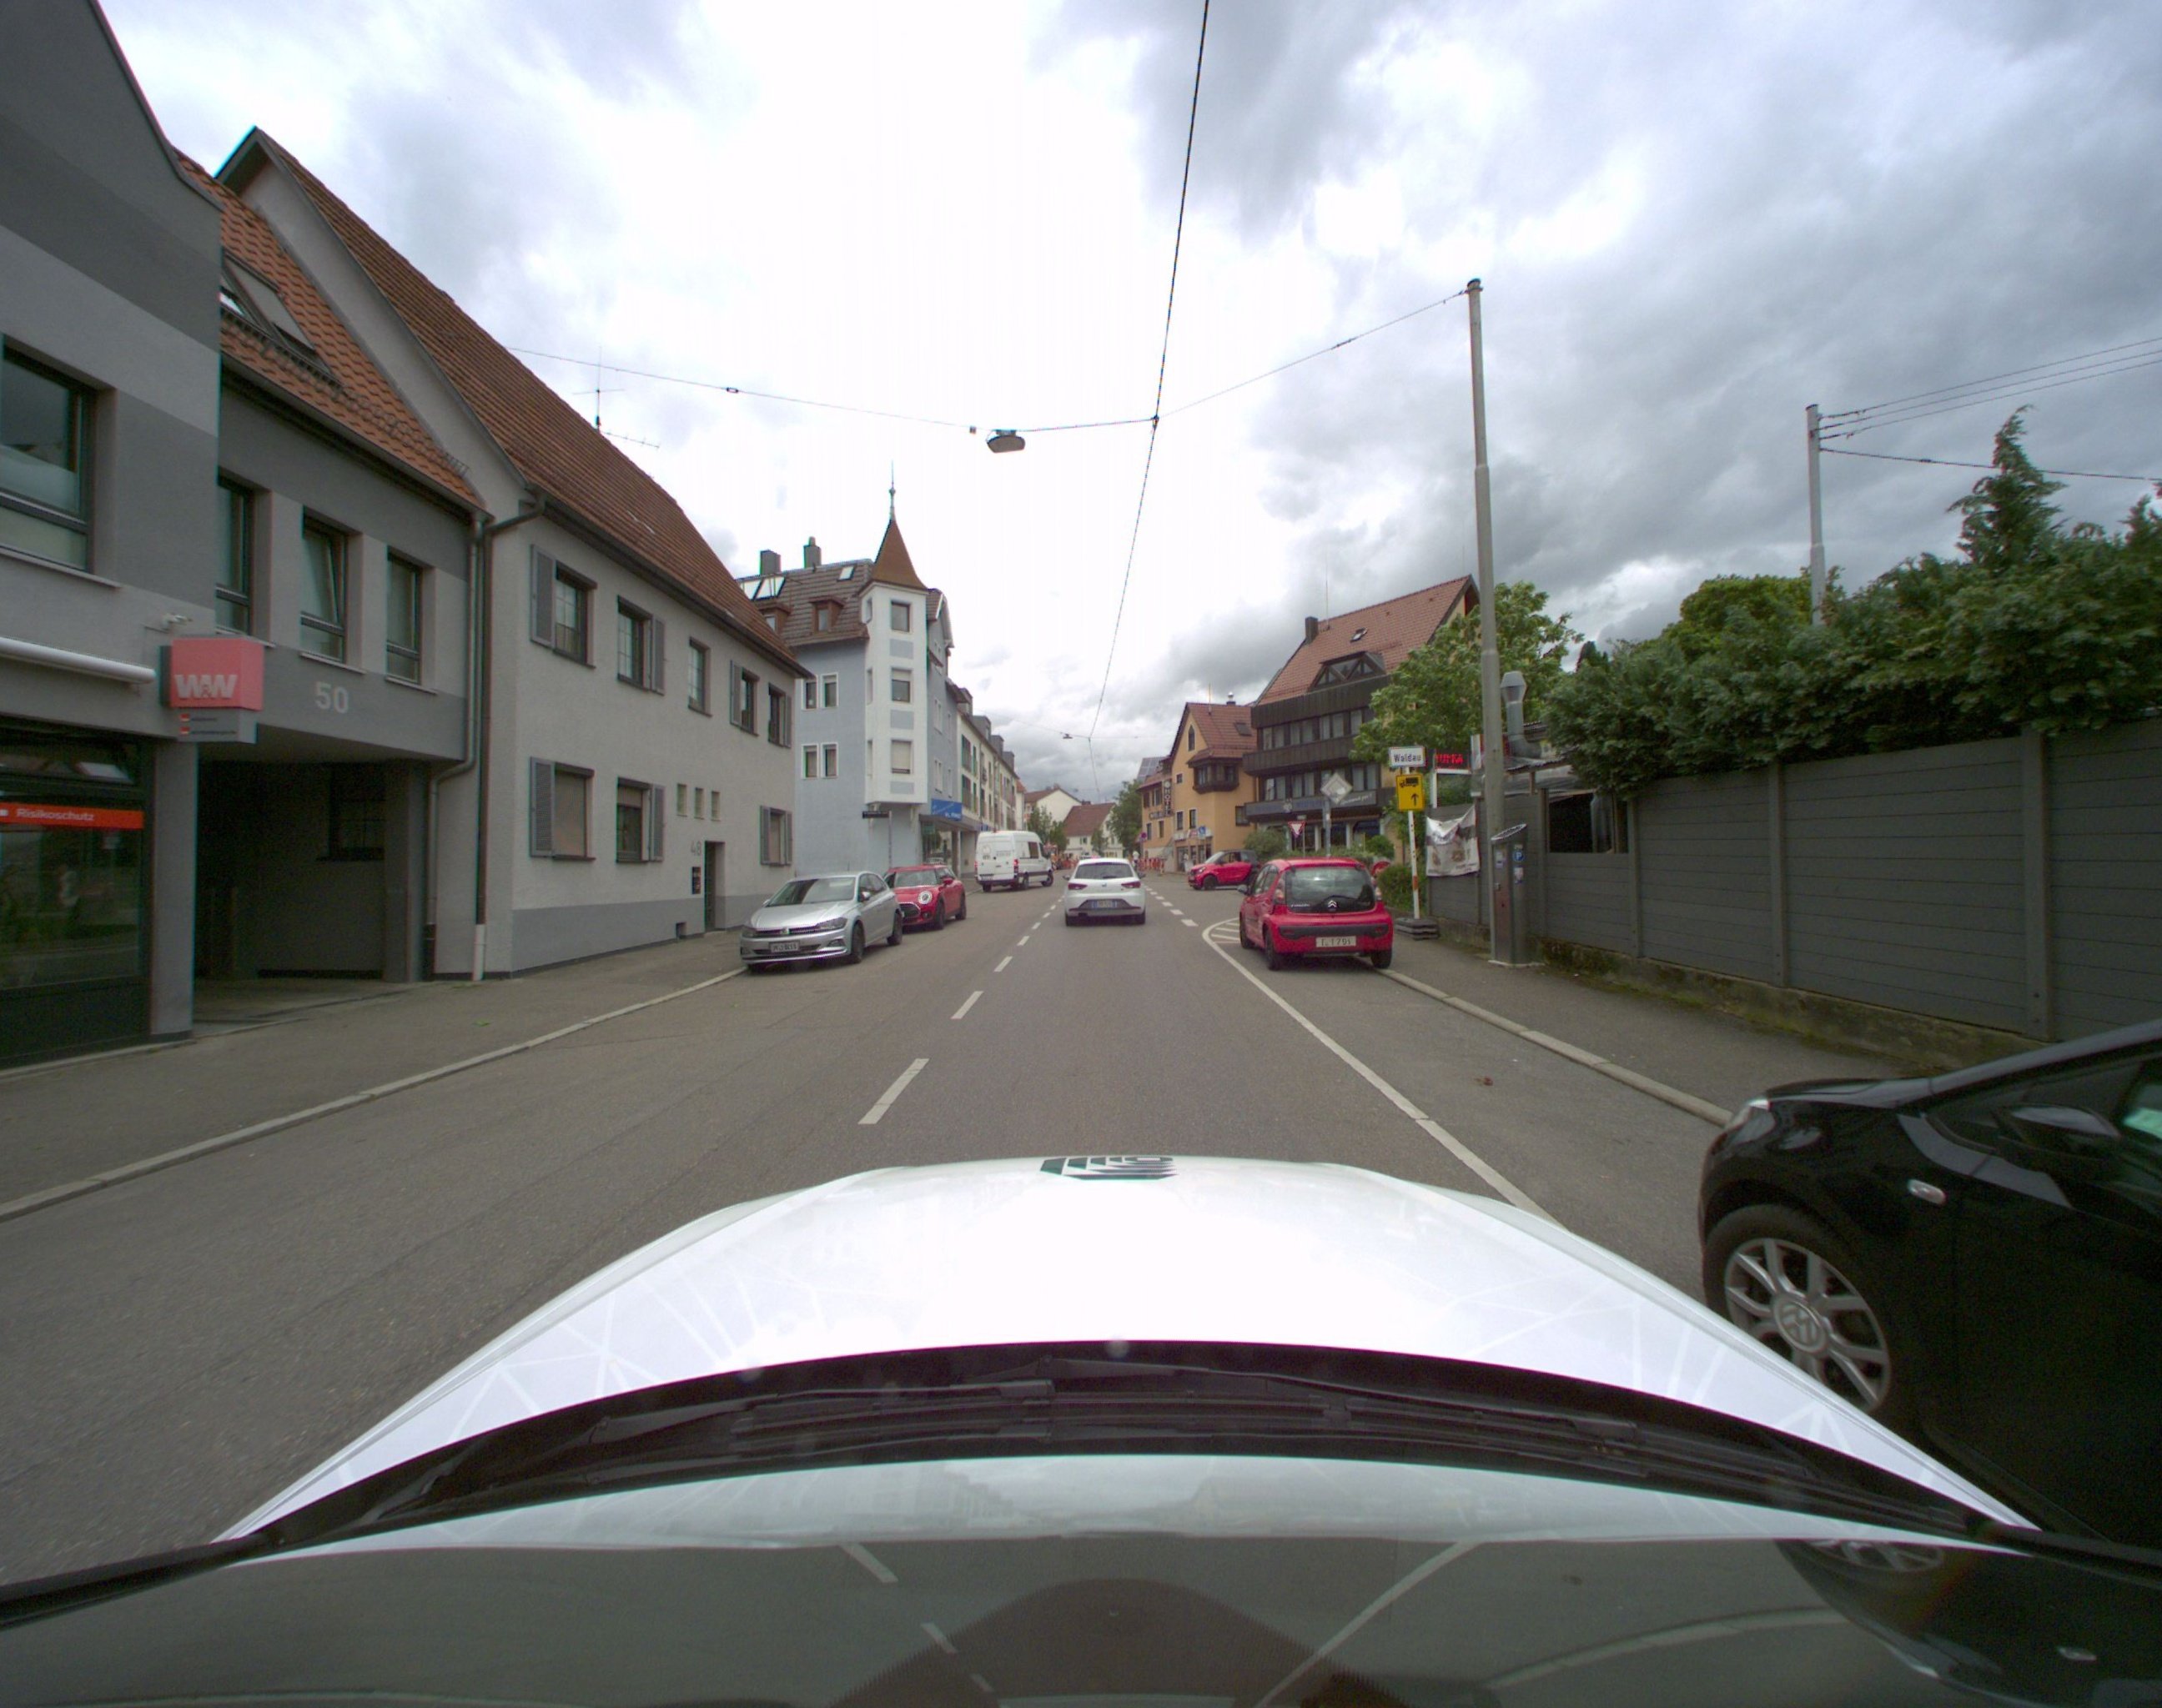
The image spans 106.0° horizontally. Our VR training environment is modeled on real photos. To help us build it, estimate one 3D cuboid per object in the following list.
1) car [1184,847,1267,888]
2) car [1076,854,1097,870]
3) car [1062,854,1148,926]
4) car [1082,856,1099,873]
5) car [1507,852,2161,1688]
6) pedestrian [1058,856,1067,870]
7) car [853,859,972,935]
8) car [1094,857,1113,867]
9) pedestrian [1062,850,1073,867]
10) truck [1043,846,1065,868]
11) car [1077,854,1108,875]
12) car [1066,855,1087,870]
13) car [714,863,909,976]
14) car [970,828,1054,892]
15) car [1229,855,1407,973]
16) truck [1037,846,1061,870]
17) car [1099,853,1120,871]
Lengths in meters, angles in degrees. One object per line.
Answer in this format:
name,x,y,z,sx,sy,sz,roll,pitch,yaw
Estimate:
car,5.606,0.508,31.834,2.808,1.512,1.703,0,1,-10
car,0.532,0.731,74.961,1.751,1.452,4.003,-1,0,3
car,0.558,0.758,18.845,1.752,1.452,4.002,-1,0,2
car,1.105,1.199,93.255,1.787,1.830,4.002,-1,0,2
car,2.771,0.731,1.543,1.753,1.452,3.998,-1,0,-1
pedestrian,-2.146,1.028,94.249,0.969,1.575,0.908,0,-1,1
car,-3.859,0.931,19.360,1.793,1.479,4.052,-4,0,1
car,3.375,1.158,120.362,1.744,1.452,4.018,-1,0,17
pedestrian,-1.572,0.497,95.506,1.223,2.013,1.176,-1,0,2
truck,-2.986,0.325,90.939,2.144,2.459,5.397,0,0,2
car,0.821,0.776,60.430,1.757,1.452,3.989,-1,0,-8
car,-0.498,1.054,101.254,1.782,1.701,4.013,-1,0,12
car,-4.336,0.976,13.842,1.793,1.479,4.052,-4,0,1
car,-3.019,0.247,37.155,2.137,2.687,5.566,0,0,14
car,3.339,0.763,12.264,1.750,1.452,4.004,-1,0,4
truck,-3.308,0.386,85.029,2.144,2.459,5.397,0,0,2
car,2.525,0.718,72.034,1.755,1.497,3.790,-1,0,2
